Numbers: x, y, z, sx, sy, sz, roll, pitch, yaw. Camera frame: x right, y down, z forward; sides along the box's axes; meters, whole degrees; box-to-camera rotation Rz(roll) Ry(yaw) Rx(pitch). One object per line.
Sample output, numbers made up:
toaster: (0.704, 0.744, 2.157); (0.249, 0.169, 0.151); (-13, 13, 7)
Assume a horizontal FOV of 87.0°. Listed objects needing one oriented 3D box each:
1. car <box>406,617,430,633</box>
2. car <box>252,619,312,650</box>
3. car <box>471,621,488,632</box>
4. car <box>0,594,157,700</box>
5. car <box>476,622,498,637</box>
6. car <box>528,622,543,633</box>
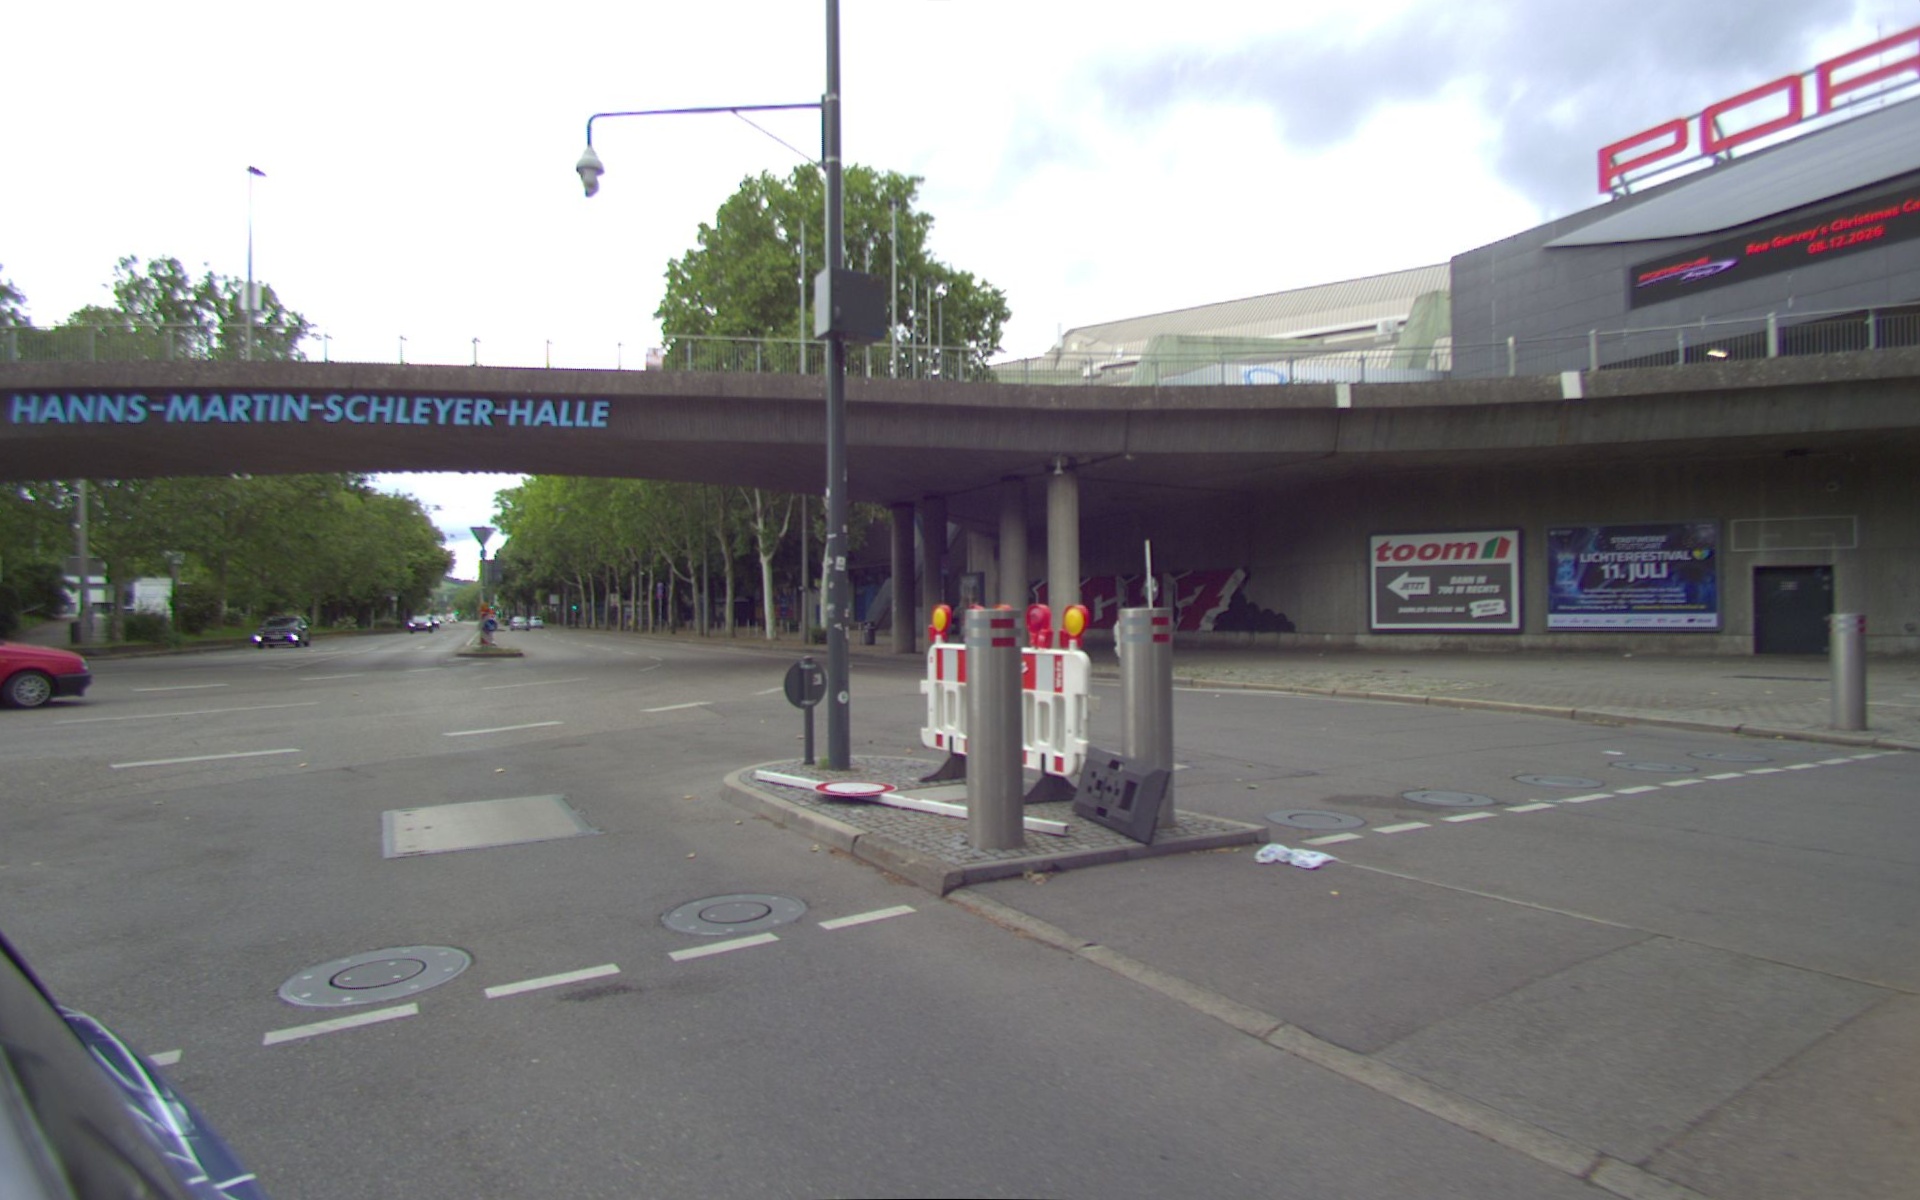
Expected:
car: (-50.034, 2.314, 93.472); (1.733, 1.374, 3.729); (1, 0, -26)
car: (-32.996, 1.664, 49.346); (1.733, 1.331, 3.729); (1, 0, -23)
car: (-75.781, 4.163, 159.565); (1.966, 1.672, 4.011); (1, -1, -33)
car: (-14.089, 0.644, 14.265); (1.832, 1.462, 4.024); (0, -1, 38)
car: (-49.515, 3.059, 105.860); (1.965, 1.429, 4.013); (1, -1, -26)
car: (-53.445, 3.476, 127.413); (1.588, 1.323, 3.406); (1, -1, -26)
